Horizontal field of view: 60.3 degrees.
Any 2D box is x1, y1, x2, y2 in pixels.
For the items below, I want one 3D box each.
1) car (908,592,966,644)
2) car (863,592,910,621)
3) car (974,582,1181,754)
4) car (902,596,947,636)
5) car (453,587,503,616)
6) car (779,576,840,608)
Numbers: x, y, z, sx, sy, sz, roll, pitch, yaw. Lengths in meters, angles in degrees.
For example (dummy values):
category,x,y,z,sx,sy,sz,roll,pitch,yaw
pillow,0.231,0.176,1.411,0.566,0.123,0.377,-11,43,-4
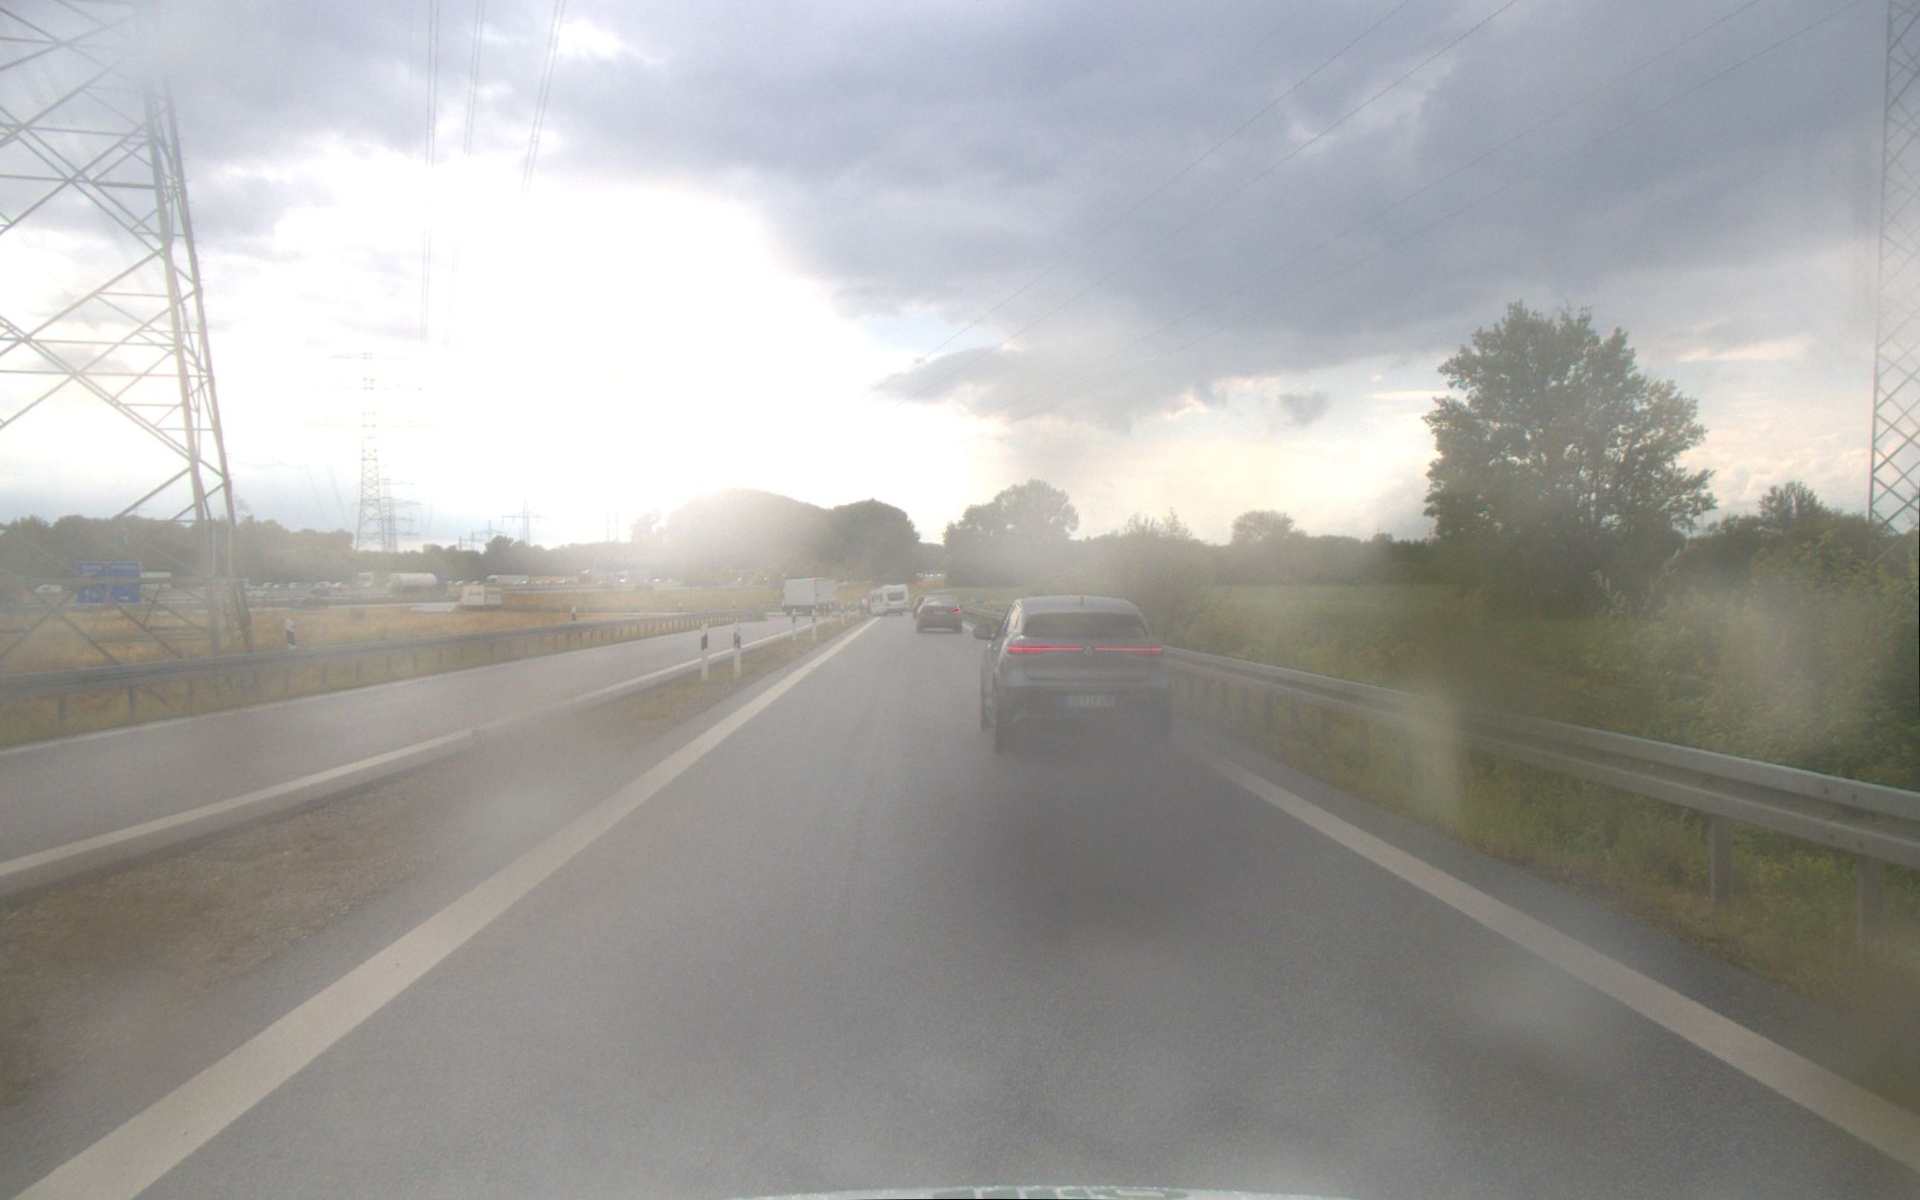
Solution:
category,x,y,z,sx,sy,sz,roll,pitch,yaw
car,-1.019,0.713,69.647,2.079,2.053,5.529,-1,0,-4
car,-6.460,0.537,144.943,2.321,2.347,5.089,-1,3,-25
car,1.149,0.628,17.902,1.952,1.594,4.149,1,1,1
car,-2.326,0.995,107.844,2.307,2.347,5.120,-1,2,-8
car,-63.485,0.160,217.725,3.360,3.673,8.921,-1,0,-38
car,-15.342,-0.856,168.259,3.111,3.002,7.120,-2,3,-35
